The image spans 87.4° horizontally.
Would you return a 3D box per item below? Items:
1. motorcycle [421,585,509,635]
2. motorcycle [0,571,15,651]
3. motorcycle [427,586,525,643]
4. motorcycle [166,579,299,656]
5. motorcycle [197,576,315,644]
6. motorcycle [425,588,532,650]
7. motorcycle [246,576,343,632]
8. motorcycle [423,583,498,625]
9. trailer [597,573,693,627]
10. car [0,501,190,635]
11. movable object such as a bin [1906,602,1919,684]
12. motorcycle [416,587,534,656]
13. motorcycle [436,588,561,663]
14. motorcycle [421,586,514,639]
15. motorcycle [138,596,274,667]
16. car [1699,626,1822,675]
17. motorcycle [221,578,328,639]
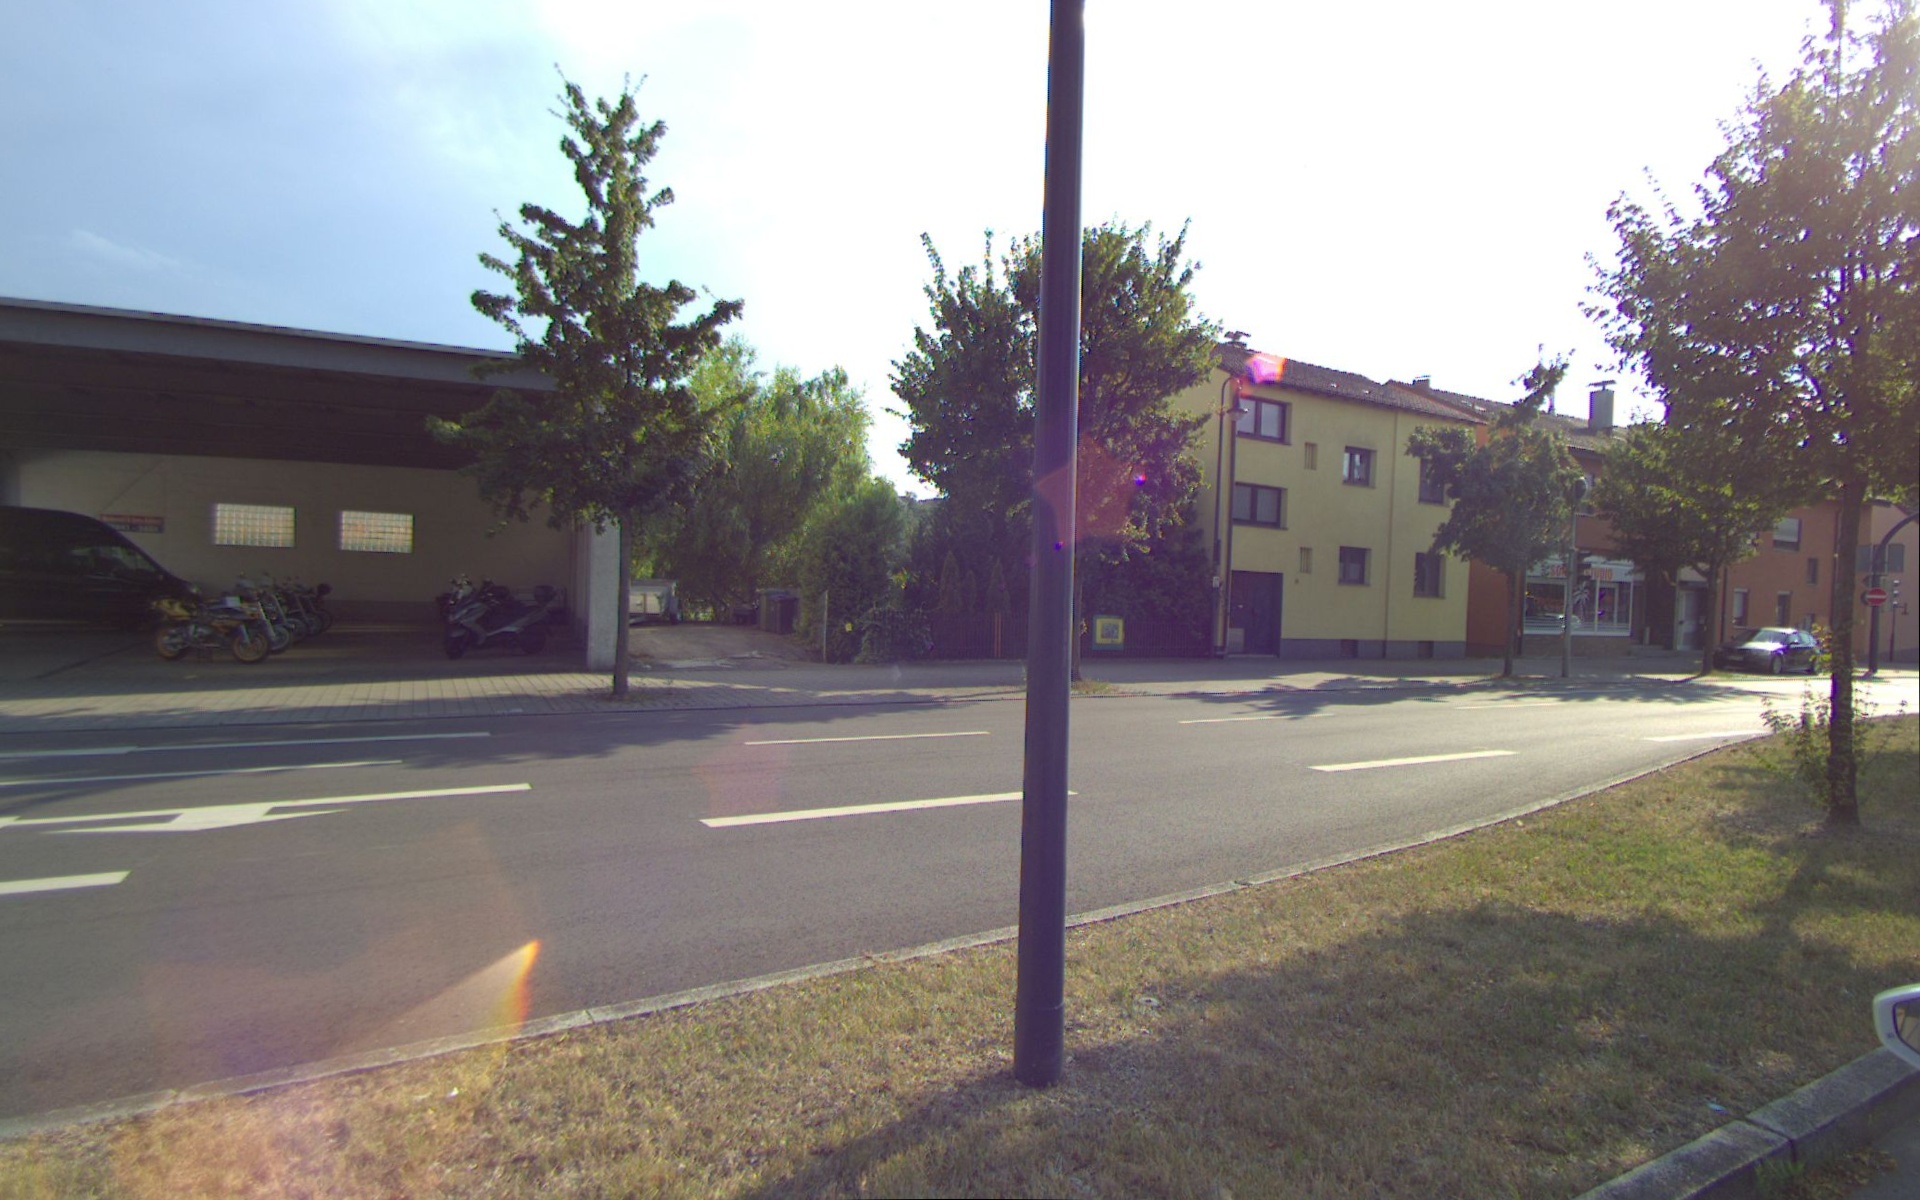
[{"bbox_3d":[-13.529,0.245,27.505,0.621,1.314,2.113,1,2,36],"label":"motorcycle"},{"bbox_3d":[-17.303,0.172,16.711,0.619,1.380,2.225,1,0,24],"label":"motorcycle"},{"bbox_3d":[-11.782,0.317,24.524,0.621,1.314,2.113,1,2,36],"label":"motorcycle"},{"bbox_3d":[-13.648,0.322,18.849,2.219,1.354,0.631,1,0,10],"label":"motorcycle"},{"bbox_3d":[-14.769,0.209,21.092,2.219,1.354,0.631,1,0,10],"label":"motorcycle"},{"bbox_3d":[-10.758,0.388,22.523,0.621,1.314,2.113,1,2,36],"label":"motorcycle"},{"bbox_3d":[-16.925,0.108,25.560,2.219,1.354,0.631,1,0,10],"label":"motorcycle"},{"bbox_3d":[-15.975,0.107,32.164,0.621,1.314,2.113,1,2,36],"label":"motorcycle"},{"bbox_3d":[-8.233,-0.001,26.604,1.698,1.280,3.995,1,0,-7],"label":"trailer"},{"bbox_3d":[-20.468,-0.677,22.079,1.962,2.789,5.280,1,0,26],"label":"car"},{"bbox_3d":[31.311,1.360,31.085,4.396,2.474,1.729,2,-1,-29],"label":"movable object such as a bin"},{"bbox_3d":[-9.828,0.405,20.446,0.621,1.314,2.113,1,2,36],"label":"motorcycle"},{"bbox_3d":[-8.635,0.433,18.884,0.621,1.314,2.113,1,2,36],"label":"motorcycle"},{"bbox_3d":[-12.664,0.297,25.907,0.621,1.314,2.113,1,2,36],"label":"motorcycle"},{"bbox_3d":[-12.513,0.506,16.684,1.993,1.101,0.631,1,0,12],"label":"motorcycle"},{"bbox_3d":[25.954,1.601,32.539,3.953,1.319,1.728,1,4,-30],"label":"car"},{"bbox_3d":[-15.900,0.186,23.301,2.219,1.354,0.631,1,0,10],"label":"motorcycle"}]
